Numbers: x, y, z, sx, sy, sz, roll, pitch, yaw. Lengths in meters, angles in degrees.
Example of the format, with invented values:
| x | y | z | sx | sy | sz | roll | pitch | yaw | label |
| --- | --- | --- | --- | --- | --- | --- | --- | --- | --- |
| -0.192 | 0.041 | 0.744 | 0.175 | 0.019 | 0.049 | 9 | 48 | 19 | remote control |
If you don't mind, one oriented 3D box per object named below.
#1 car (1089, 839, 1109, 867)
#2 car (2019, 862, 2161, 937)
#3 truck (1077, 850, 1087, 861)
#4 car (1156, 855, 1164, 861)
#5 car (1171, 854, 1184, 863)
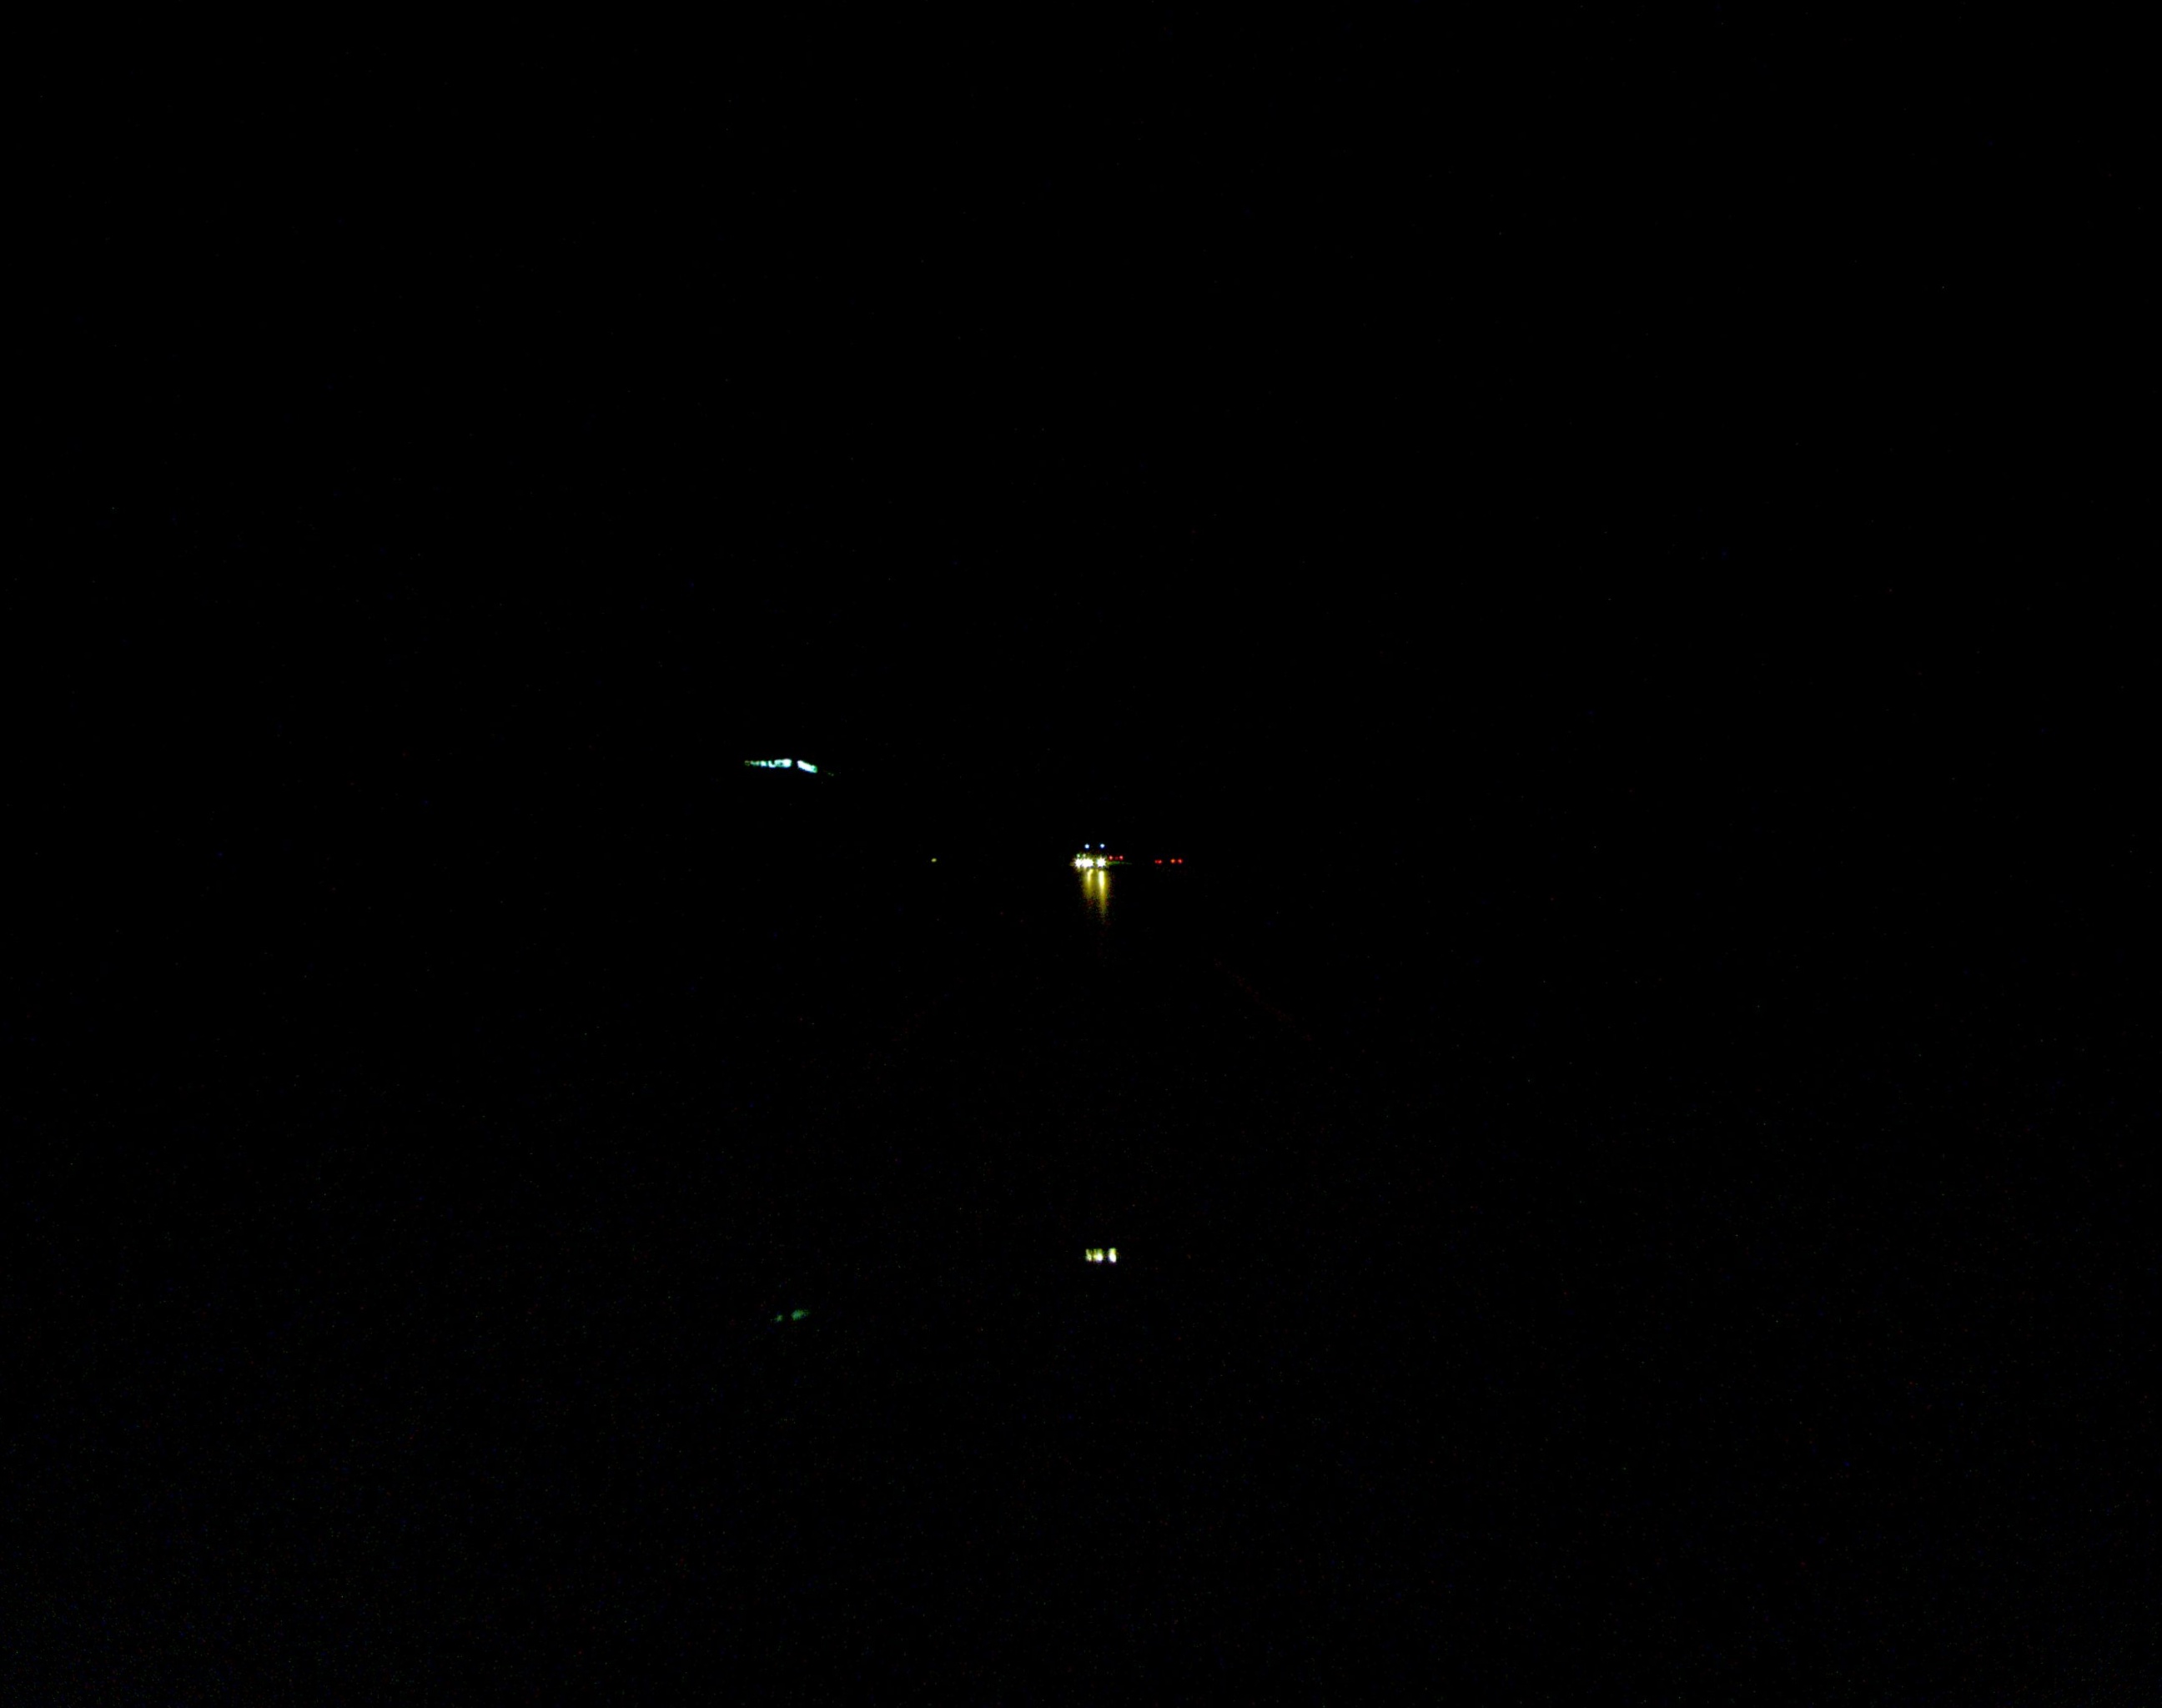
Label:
| x | y | z | sx | sy | sz | roll | pitch | yaw | label |
| --- | --- | --- | --- | --- | --- | --- | --- | --- | --- |
| 2.232 | -0.168 | 93.861 | 2.255 | 3.205 | 6.878 | -2 | 0 | 1 | car |
| 19.975 | 0.811 | 13.259 | 1.908 | 1.275 | 4.350 | -1 | 0 | 1 | car |
| 0.412 | 0.553 | 257.990 | 3.042 | 3.726 | 7.560 | -1 | 0 | 1 | truck |
| 24.489 | 1.120 | 235.694 | 1.908 | 1.625 | 5.045 | -3 | 1 | 1 | car |
| 18.704 | 0.827 | 147.317 | 1.908 | 1.608 | 4.403 | -1 | 0 | 0 | car |
